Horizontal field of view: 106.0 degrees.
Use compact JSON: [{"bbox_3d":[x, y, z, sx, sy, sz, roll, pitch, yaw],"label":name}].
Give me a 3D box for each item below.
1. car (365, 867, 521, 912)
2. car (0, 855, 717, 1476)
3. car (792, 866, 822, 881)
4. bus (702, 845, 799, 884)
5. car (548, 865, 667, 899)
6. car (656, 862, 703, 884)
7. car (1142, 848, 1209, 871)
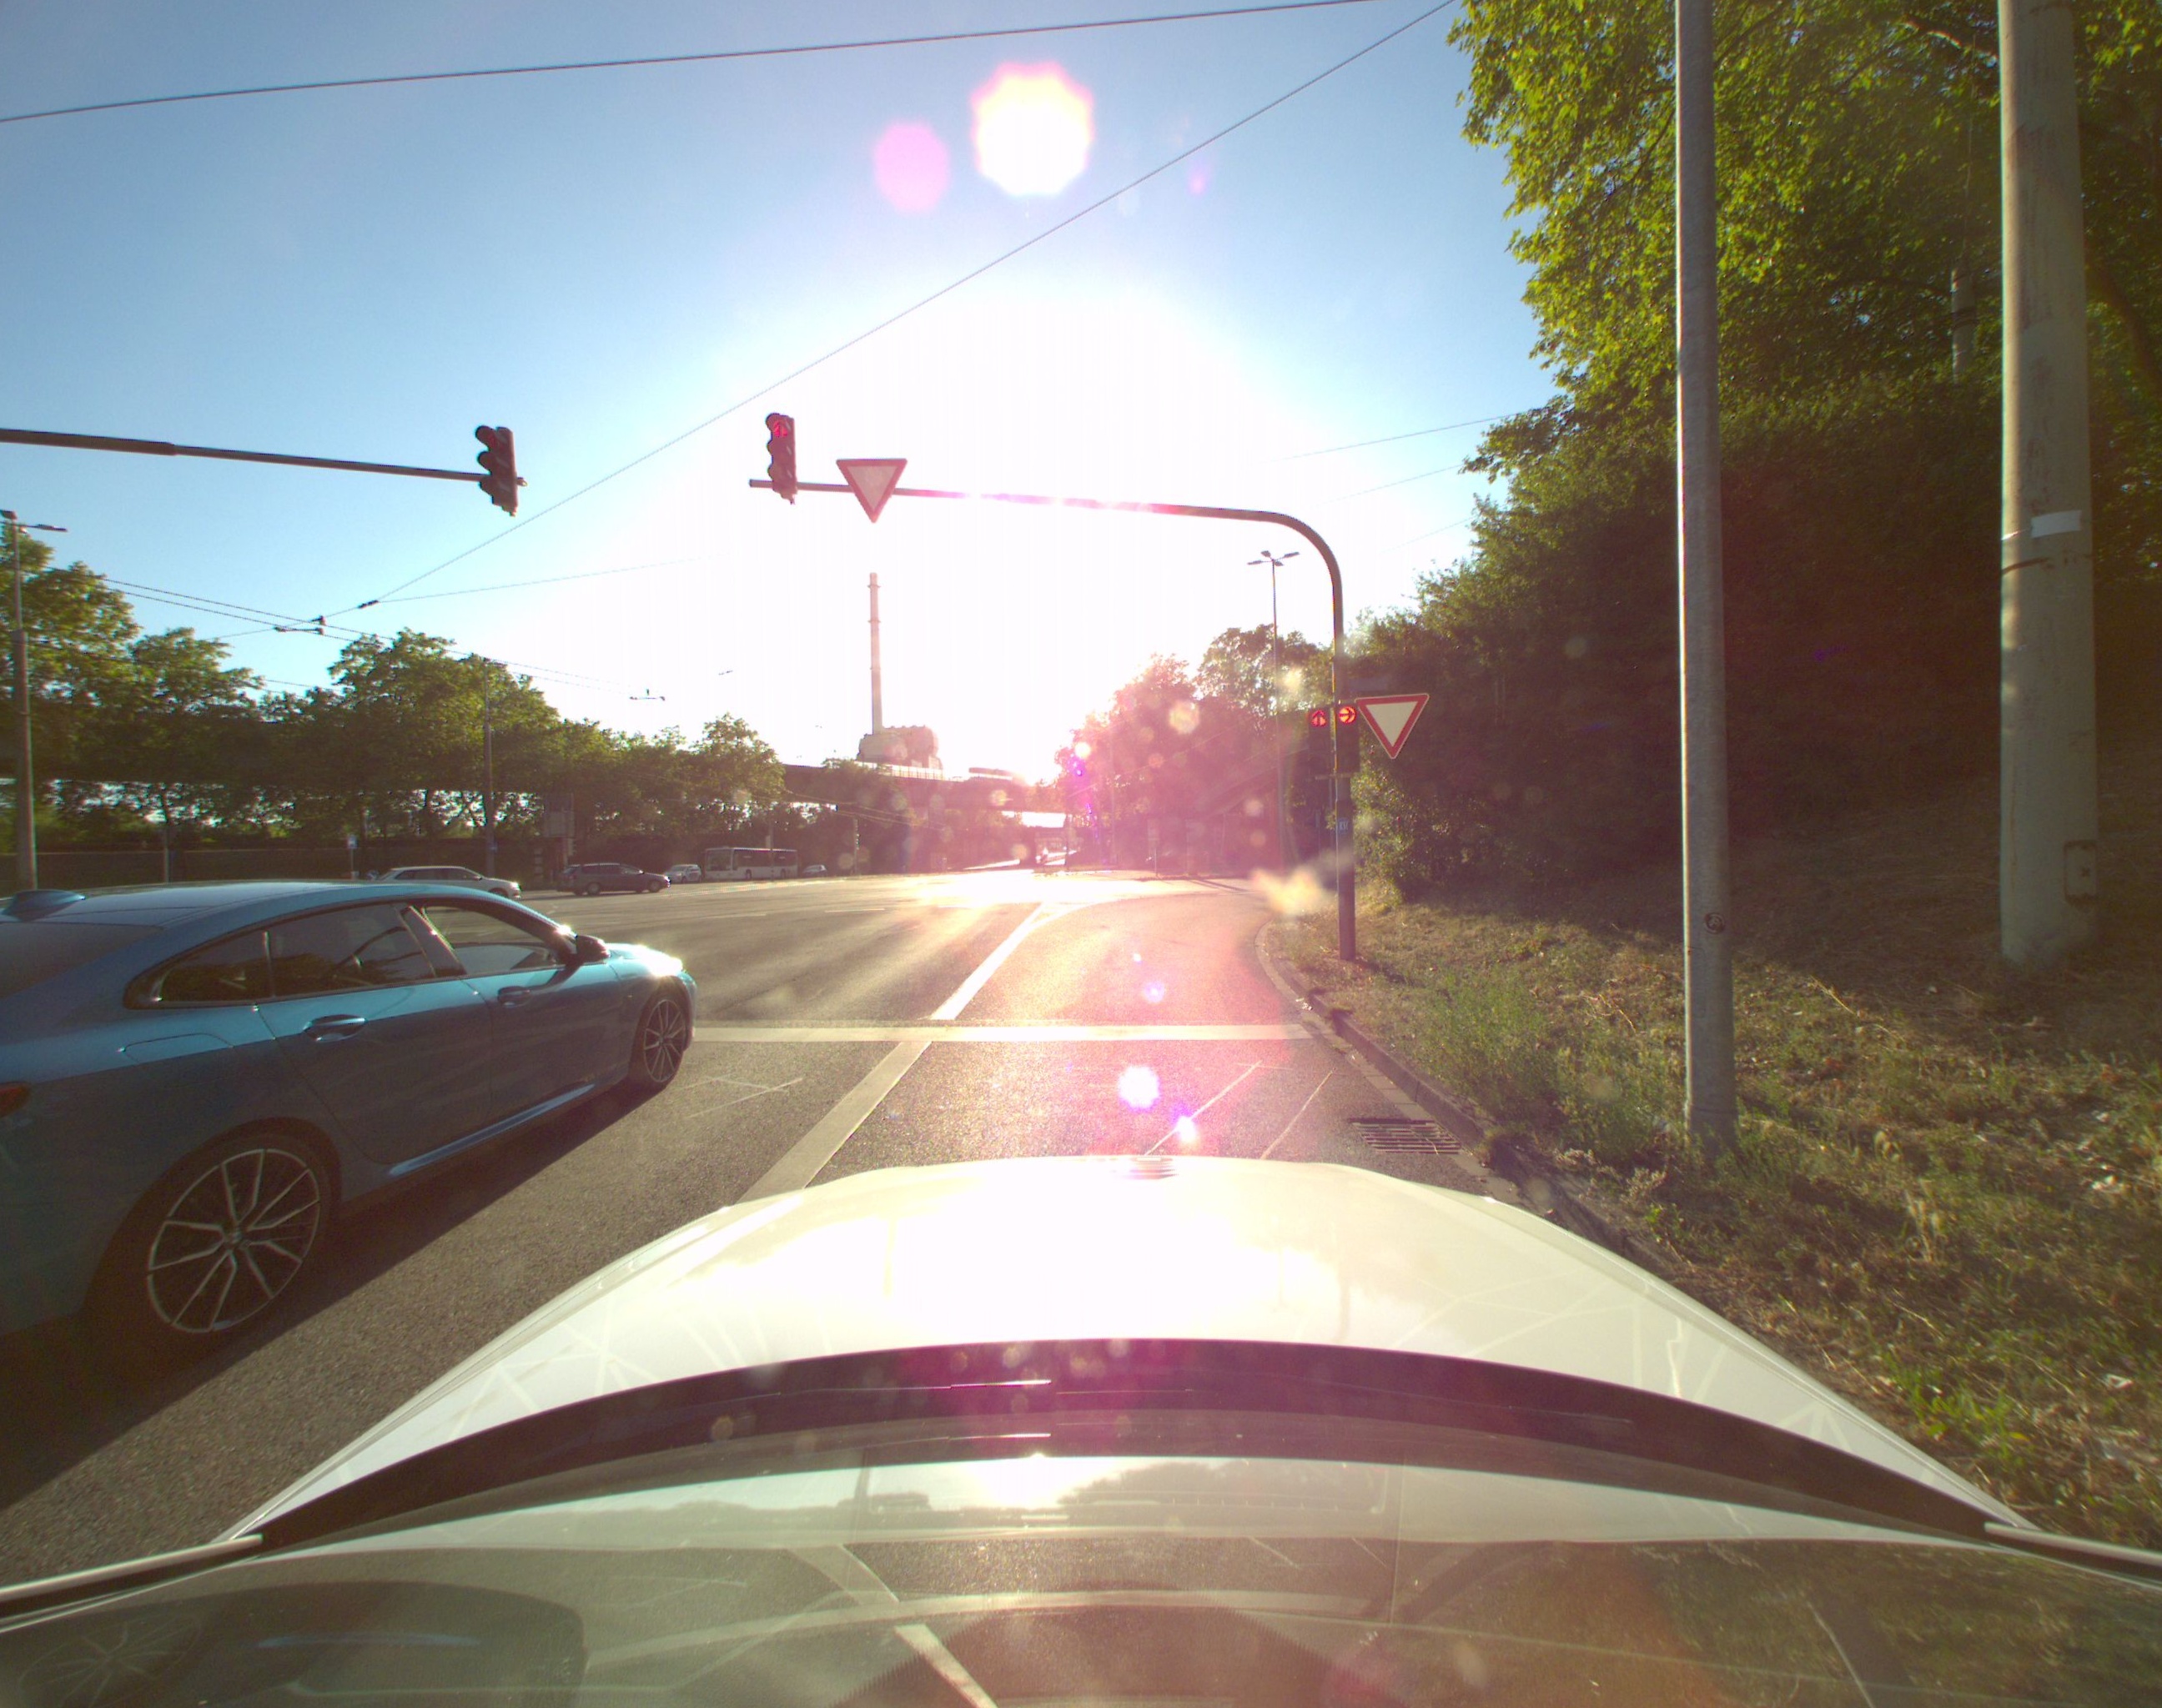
[{"bbox_3d":[-22.969,1.223,29.445,1.649,1.405,4.222,-1,0,43],"label":"car"},{"bbox_3d":[-3.498,0.780,3.795,1.709,1.465,4.205,-2,0,-1],"label":"car"},{"bbox_3d":[-28.532,2.000,84.849,1.600,1.419,4.012,-1,0,3],"label":"car"},{"bbox_3d":[-29.424,0.998,73.382,2.532,3.130,12.931,-2,-1,4],"label":"bus"},{"bbox_3d":[-22.020,1.261,38.028,1.649,1.405,4.473,-1,0,36],"label":"car"},{"bbox_3d":[-30.216,1.418,61.411,1.601,1.512,4.007,-1,0,0],"label":"car"},{"bbox_3d":[6.953,0.368,59.811,4.585,1.574,1.685,-1,0,-16],"label":"car"}]
